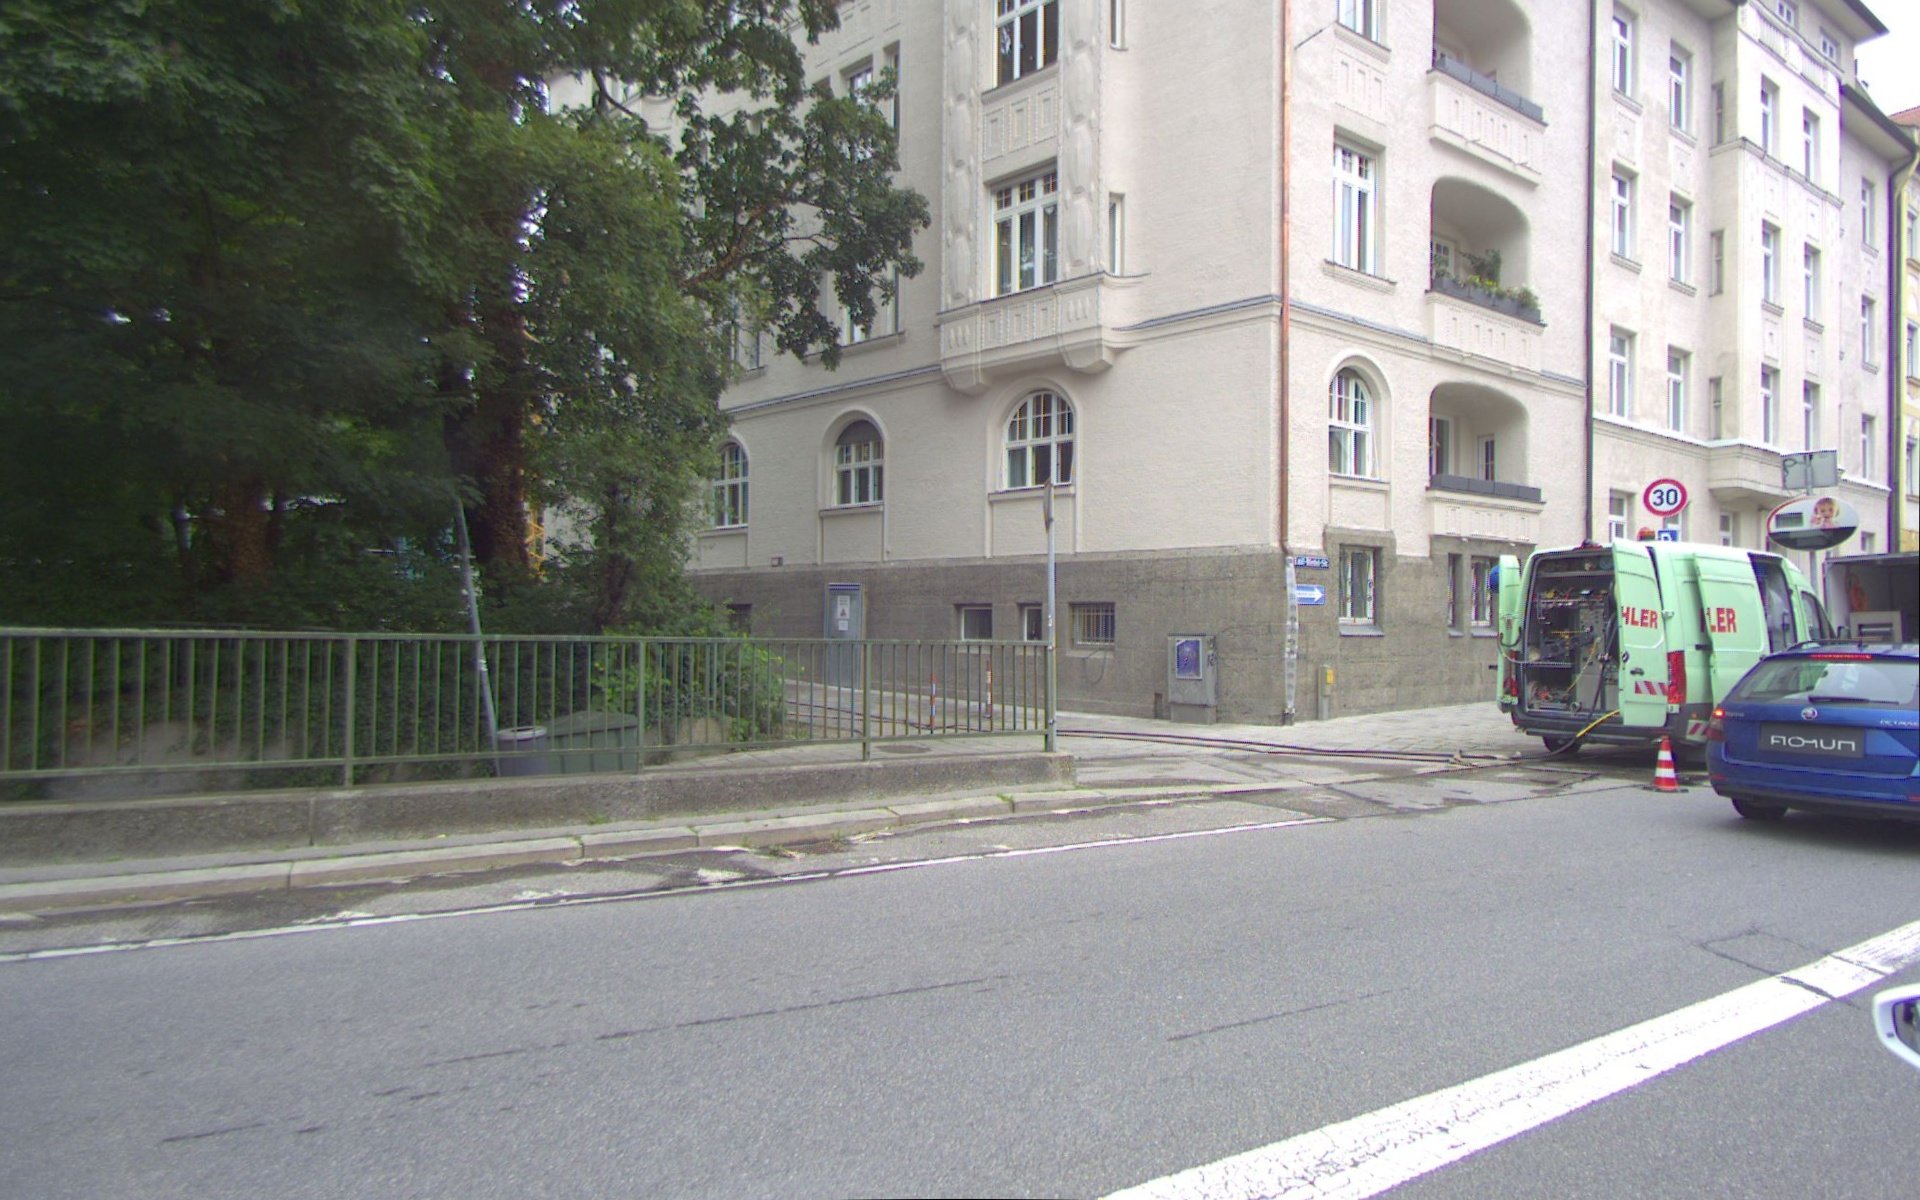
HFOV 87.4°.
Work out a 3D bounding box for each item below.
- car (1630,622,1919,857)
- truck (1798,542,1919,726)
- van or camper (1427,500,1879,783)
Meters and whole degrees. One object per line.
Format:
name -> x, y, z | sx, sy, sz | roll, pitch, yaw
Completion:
car -> 7.780, 0.979, 8.031 | 4.672, 1.473, 1.981 | 2, -3, -26
truck -> 18.166, 0.567, 17.991 | 7.120, 2.911, 2.759 | 0, -1, -32
van or camper -> 9.054, 0.460, 12.963 | 6.116, 2.878, 2.587 | 0, -1, -32
